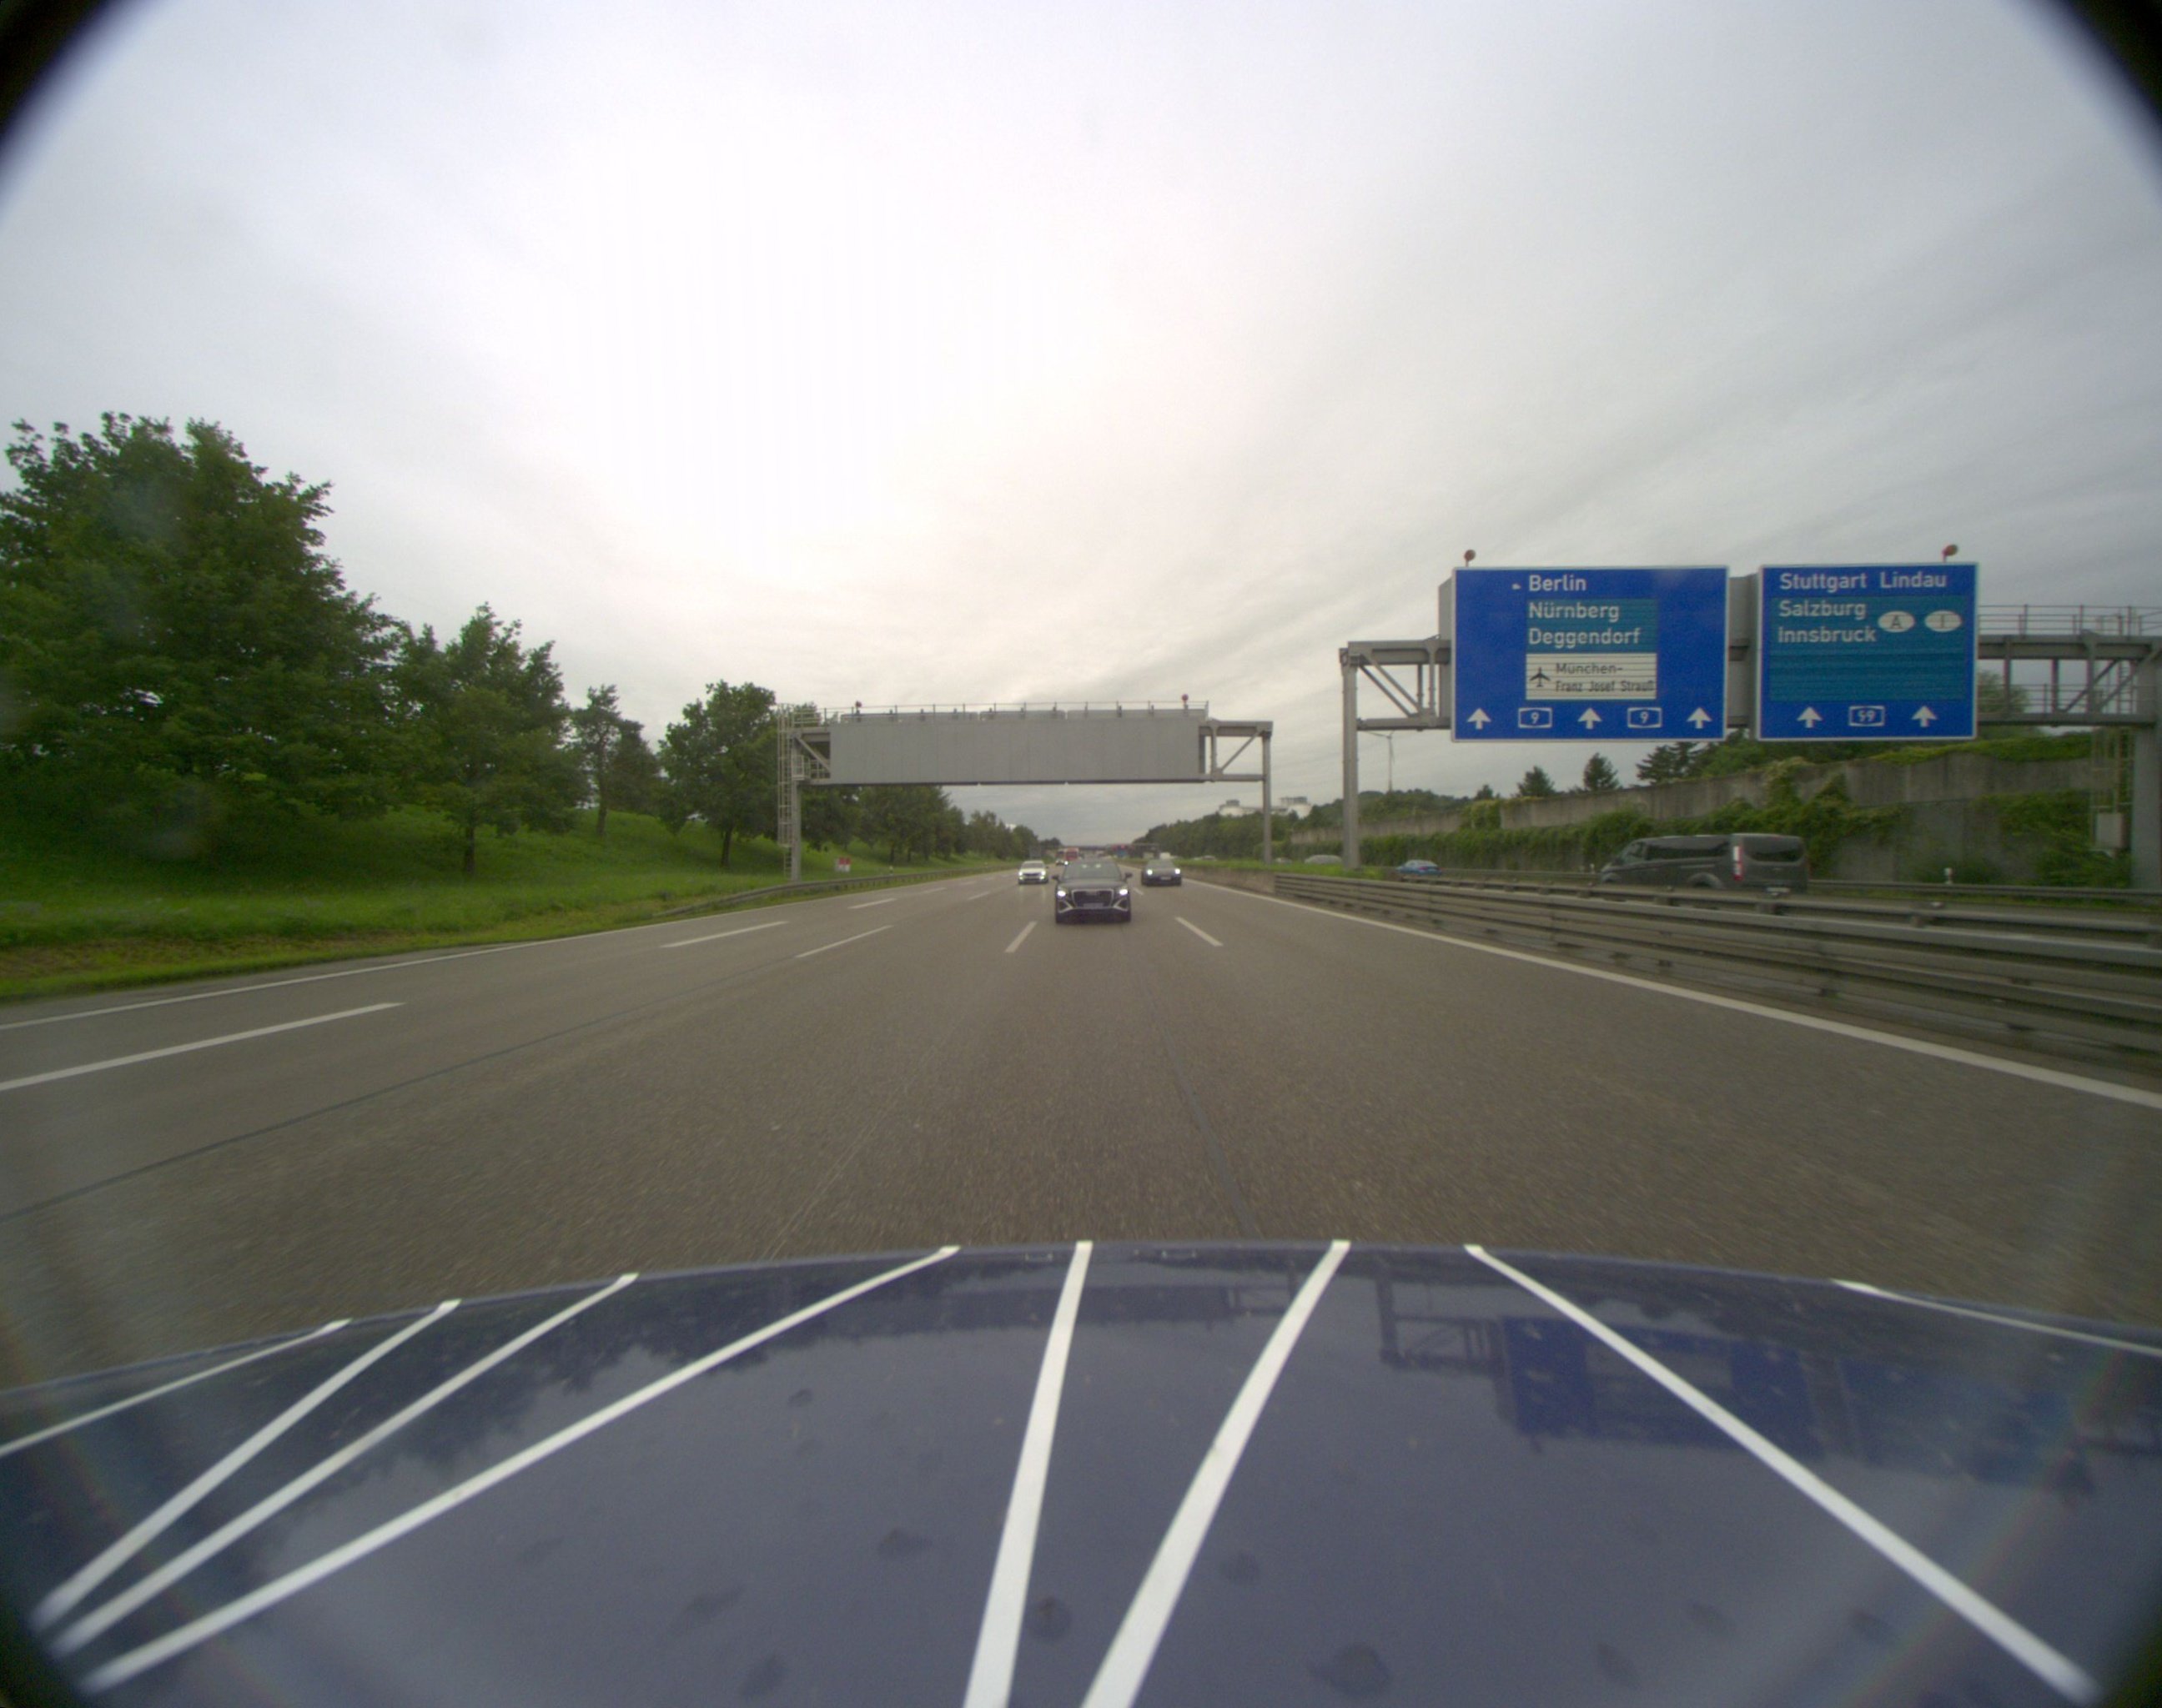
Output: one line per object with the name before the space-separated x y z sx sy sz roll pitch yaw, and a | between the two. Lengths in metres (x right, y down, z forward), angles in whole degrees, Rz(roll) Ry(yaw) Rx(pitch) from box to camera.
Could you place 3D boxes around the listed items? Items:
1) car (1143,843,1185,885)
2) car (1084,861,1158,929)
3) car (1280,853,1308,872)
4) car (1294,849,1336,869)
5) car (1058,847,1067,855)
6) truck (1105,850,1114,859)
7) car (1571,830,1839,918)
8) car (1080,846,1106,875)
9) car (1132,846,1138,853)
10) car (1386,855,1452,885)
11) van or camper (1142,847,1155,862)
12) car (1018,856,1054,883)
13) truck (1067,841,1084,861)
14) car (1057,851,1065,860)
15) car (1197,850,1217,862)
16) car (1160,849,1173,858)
car | 4.230 0.463 39.085 1.725 2.002 3.851 -2 1 1
car | 0.907 0.944 18.849 1.616 1.403 3.326 -2 1 0
car | 24.886 0.967 88.874 1.998 2.002 4.224 -2 1 1
car | 16.827 0.339 54.775 1.709 1.357 4.235 -2 1 1
car | -4.745 -0.694 194.408 1.998 2.002 4.000 -2 1 2
truck | 6.548 0.074 176.714 1.998 2.002 4.000 -2 0 1
car | 16.556 0.432 20.816 2.214 1.960 6.270 -2 1 1
car | 1.213 0.602 77.195 2.459 2.726 8.265 -2 1 1
car | 16.277 -1.359 229.143 1.772 2.002 4.000 -2 1 1
car | 23.994 1.086 54.200 2.214 1.863 5.754 -2 1 1
van or camper | 18.441 0.106 207.827 2.714 3.925 8.401 -2 1 1
car | -2.848 0.963 49.057 1.998 1.555 4.910 -1 0 1
truck | -1.007 -0.549 148.135 2.836 3.634 10.670 -2 1 1
car | -4.545 0.375 173.589 1.455 2.002 3.677 -2 1 1
car | 17.718 0.211 106.753 1.998 1.446 4.932 -1 2 1
car | 18.924 -0.169 167.995 2.132 1.901 6.533 -2 1 1
